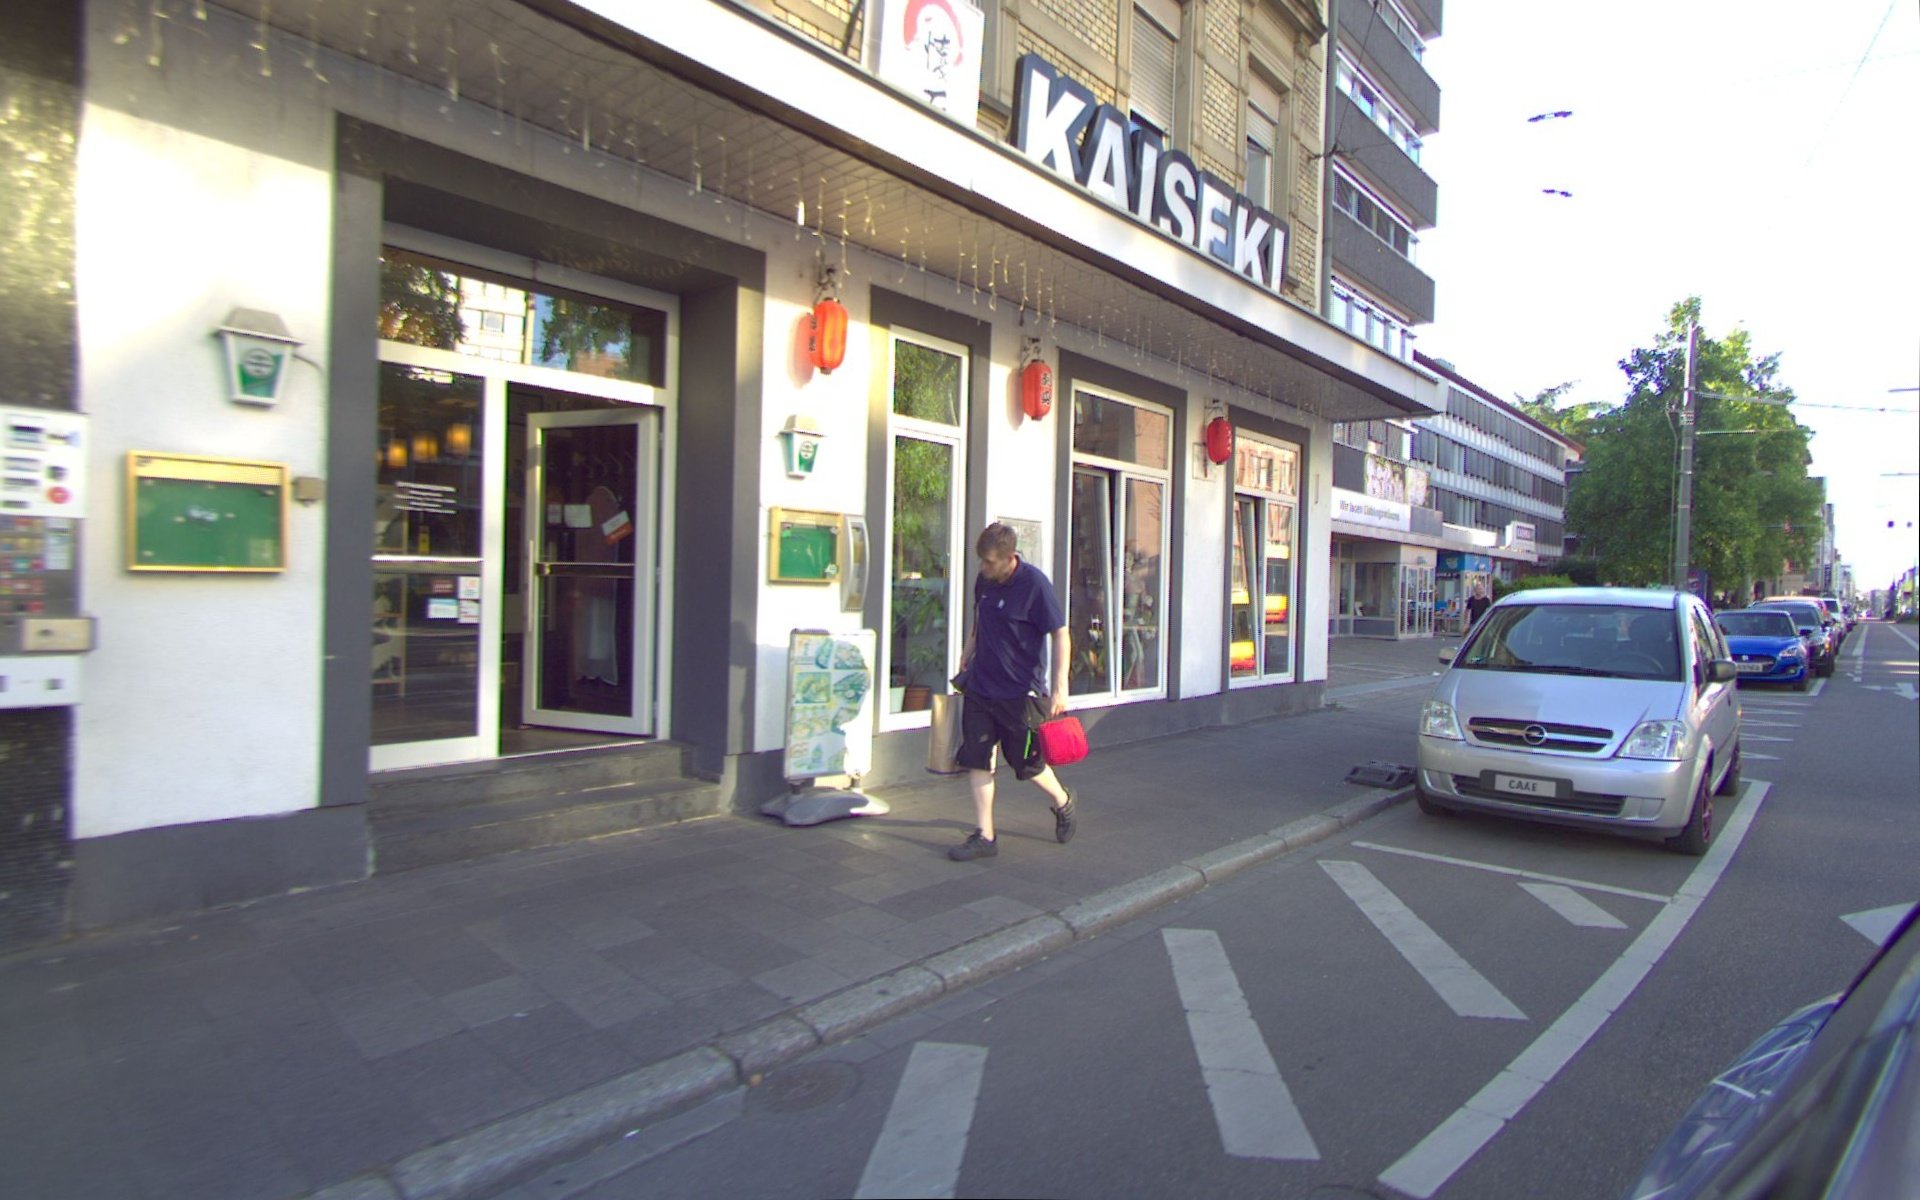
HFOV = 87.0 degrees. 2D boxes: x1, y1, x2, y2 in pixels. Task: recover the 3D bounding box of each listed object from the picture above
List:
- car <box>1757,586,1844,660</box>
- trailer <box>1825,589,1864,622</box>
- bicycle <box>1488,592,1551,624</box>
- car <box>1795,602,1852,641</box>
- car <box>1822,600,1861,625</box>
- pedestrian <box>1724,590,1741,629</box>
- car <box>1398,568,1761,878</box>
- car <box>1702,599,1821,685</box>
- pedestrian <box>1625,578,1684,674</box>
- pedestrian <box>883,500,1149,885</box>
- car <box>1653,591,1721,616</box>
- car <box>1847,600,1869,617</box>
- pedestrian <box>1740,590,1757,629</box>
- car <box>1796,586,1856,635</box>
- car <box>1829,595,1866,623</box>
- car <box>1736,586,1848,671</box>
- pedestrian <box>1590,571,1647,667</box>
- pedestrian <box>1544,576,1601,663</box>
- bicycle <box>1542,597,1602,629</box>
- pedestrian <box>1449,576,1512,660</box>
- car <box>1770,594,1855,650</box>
[{"bbox_3d":[22.563,0.554,27.117,1.674,1.831,4.184,0,0,42],"label":"car"},{"bbox_3d":[61.665,0.367,70.528,1.780,2.176,5.229,0,0,45],"label":"trailer"},{"bbox_3d":[21.447,0.310,38.808,2.009,1.109,0.629,3,2,37],"label":"bicycle"},{"bbox_3d":[34.807,0.818,40.777,1.672,1.422,4.106,0,0,41],"label":"car"},{"bbox_3d":[54.310,0.744,62.328,1.778,1.447,4.148,0,0,42],"label":"car"},{"bbox_3d":[35.522,0.435,46.528,0.493,1.734,0.430,5,3,42],"label":"pedestrian"},{"bbox_3d":[4.672,0.632,7.361,1.636,1.635,3.886,1,1,41],"label":"car"},{"bbox_3d":[15.741,0.751,19.813,1.636,1.511,3.738,-1,-1,41],"label":"car"},{"bbox_3d":[13.211,0.476,19.243,0.787,1.759,0.931,1,1,42],"label":"pedestrian"},{"bbox_3d":[0.308,0.414,5.458,0.946,1.814,1.039,3,2,42],"label":"pedestrian"},{"bbox_3d":[59.169,0.268,82.366,4.351,1.692,1.566,5,3,39],"label":"car"},{"bbox_3d":[77.039,0.720,86.800,1.415,1.452,3.813,0,0,42],"label":"car"},{"bbox_3d":[35.934,0.438,46.134,0.493,1.734,0.430,5,3,42],"label":"pedestrian"},{"bbox_3d":[38.762,0.438,45.260,1.876,2.047,4.829,0,0,43],"label":"car"},{"bbox_3d":[58.584,0.583,66.807,1.778,1.767,4.407,0,0,42],"label":"car"},{"bbox_3d":[19.437,0.582,23.576,1.819,1.779,4.407,0,1,42],"label":"car"},{"bbox_3d":[13.675,0.370,21.013,0.793,1.923,1.017,2,1,42],"label":"pedestrian"},{"bbox_3d":[13.067,0.398,21.577,0.810,1.778,1.017,2,1,42],"label":"pedestrian"},{"bbox_3d":[23.206,0.478,38.418,1.880,1.109,0.462,2,2,42],"label":"bicycle"},{"bbox_3d":[11.390,0.372,22.125,0.900,1.734,1.017,5,3,42],"label":"pedestrian"},{"bbox_3d":[26.727,0.651,31.690,1.786,1.616,4.258,0,0,43],"label":"car"}]
